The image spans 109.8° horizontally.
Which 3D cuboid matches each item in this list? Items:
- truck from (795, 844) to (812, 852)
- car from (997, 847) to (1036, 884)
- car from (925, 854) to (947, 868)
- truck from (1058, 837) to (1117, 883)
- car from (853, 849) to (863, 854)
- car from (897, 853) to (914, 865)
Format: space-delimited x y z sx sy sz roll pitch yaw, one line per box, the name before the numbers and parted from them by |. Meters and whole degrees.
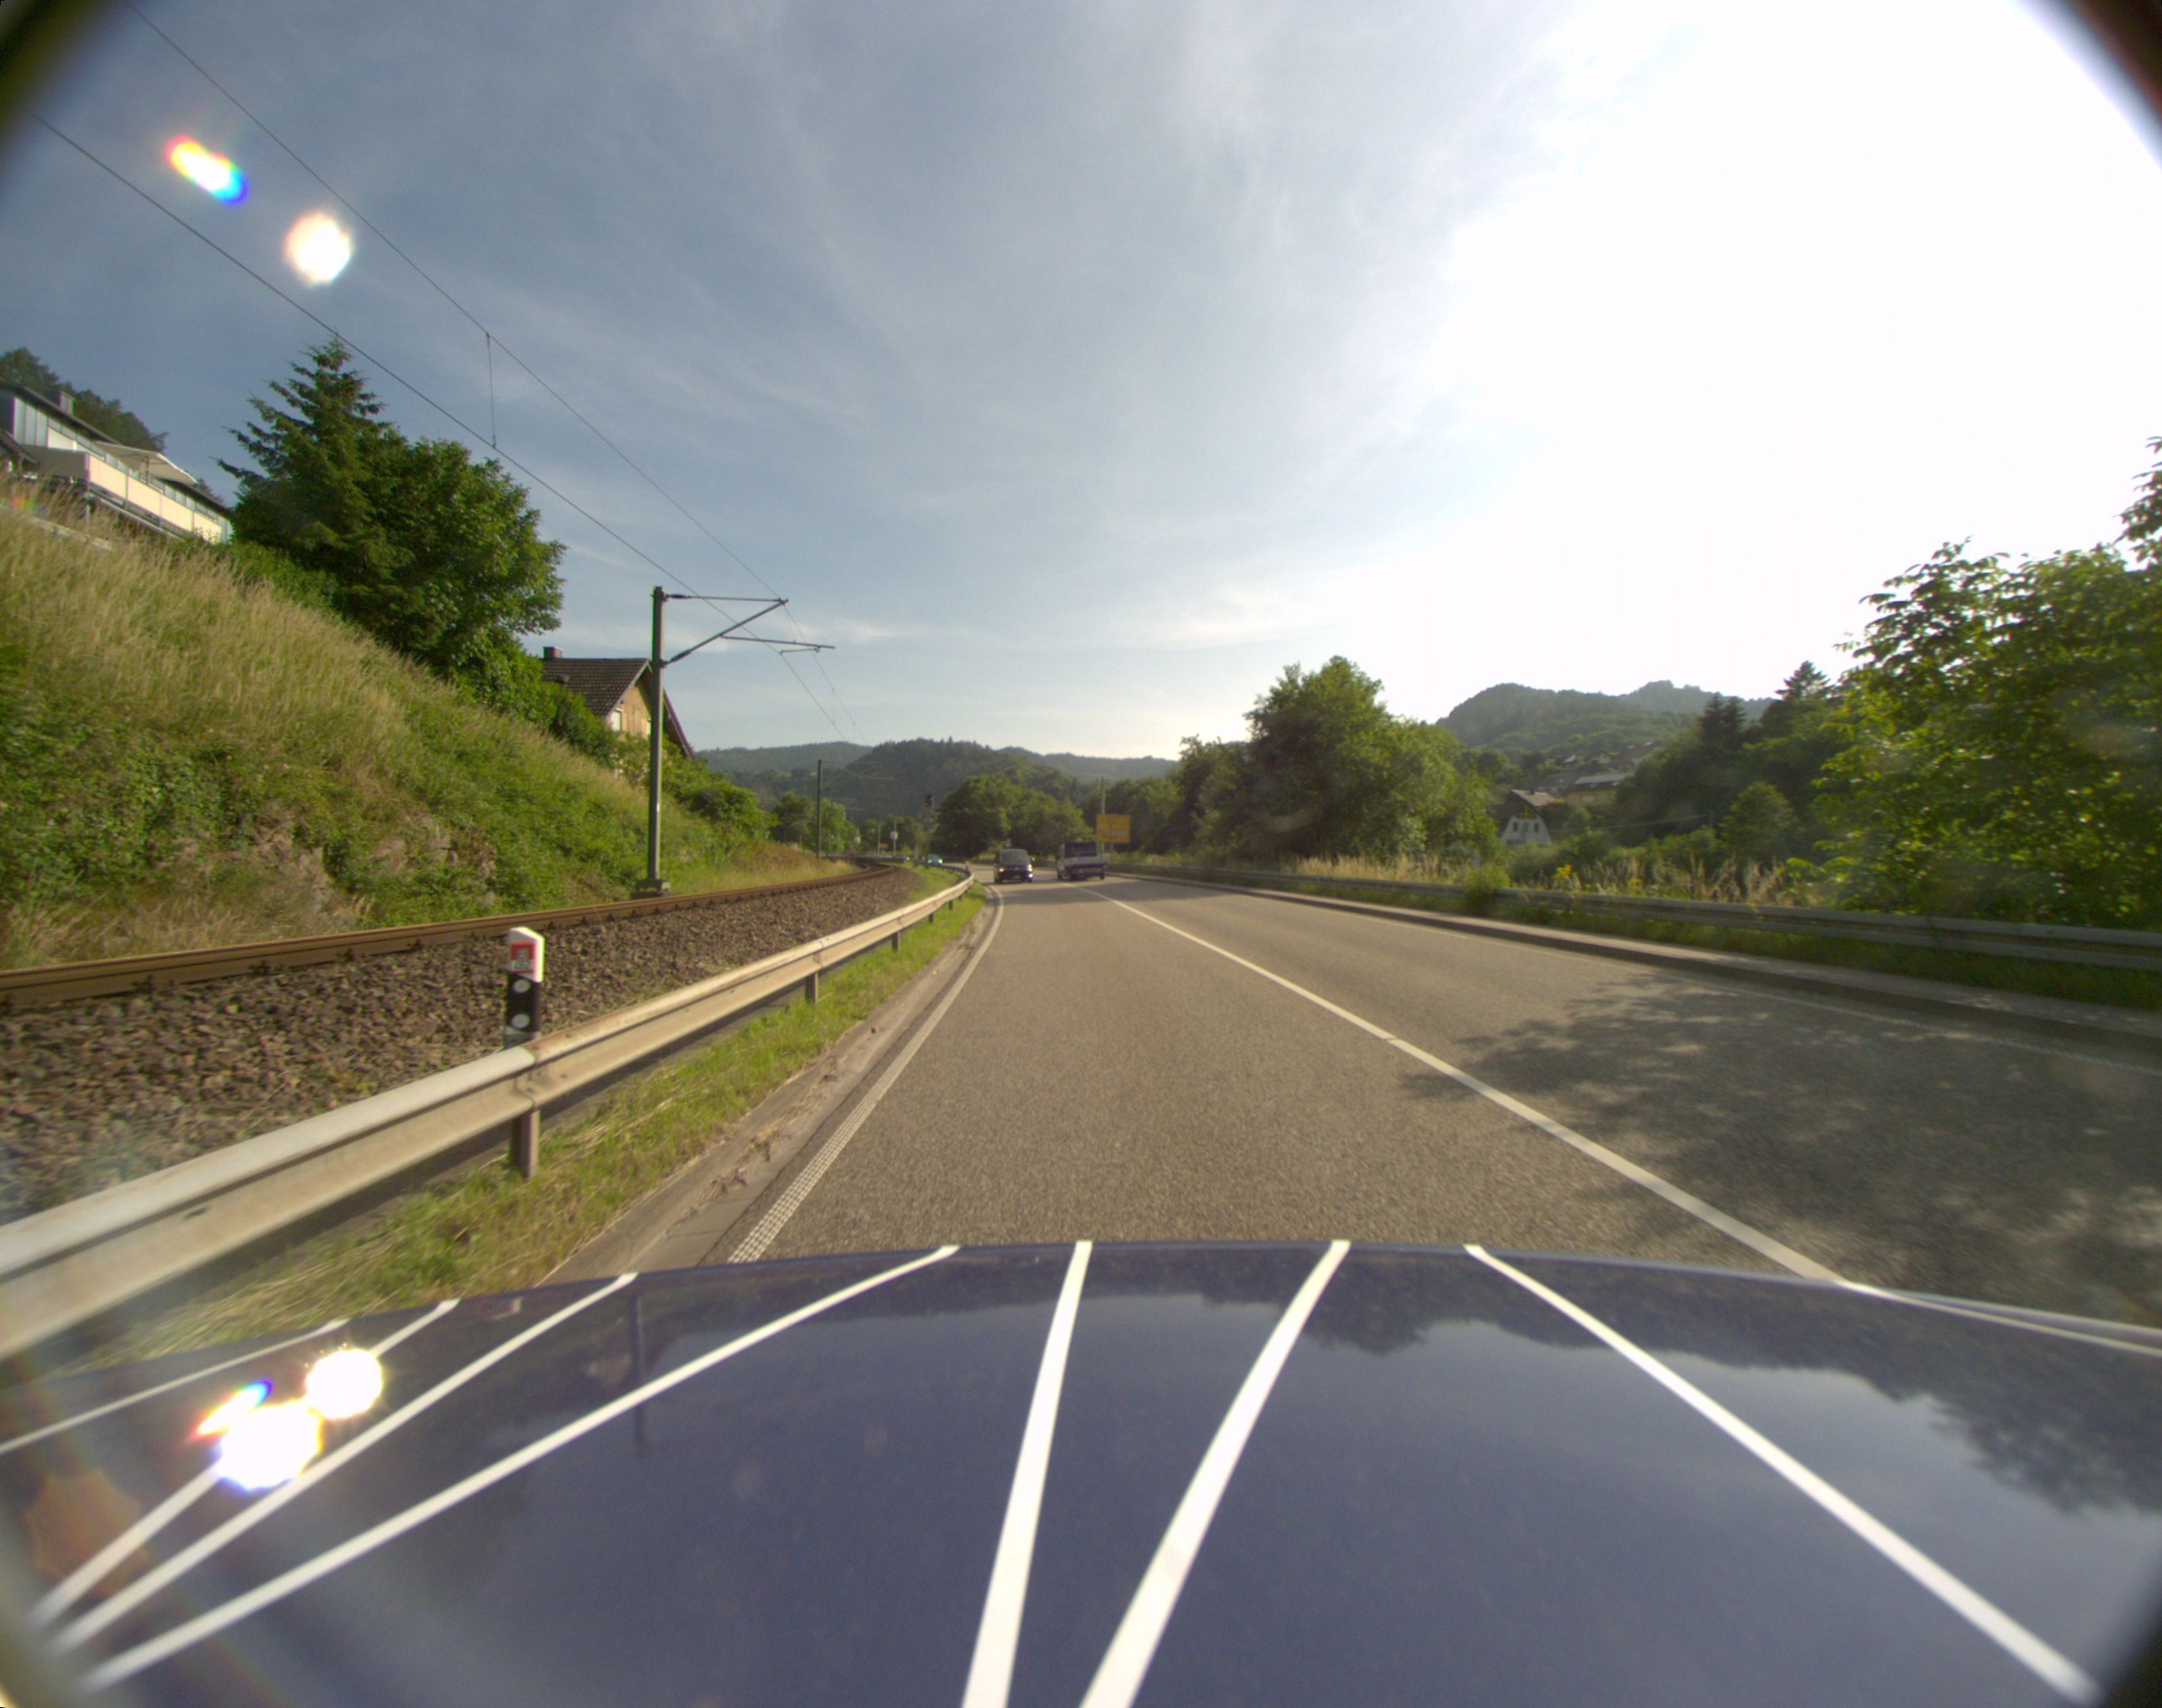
truck | -82.252 -1.884 225.483 4.708 2.272 1.889 -1 0 24
car | -3.794 0.607 43.865 2.019 1.905 4.308 -2 1 -7
car | -18.029 0.841 94.538 1.888 1.735 4.171 -1 0 -21
truck | 0.245 0.303 43.986 2.164 2.352 6.739 -3 1 -10
car | -55.694 -0.636 189.958 1.640 1.341 4.099 -2 2 -26
car | -27.935 0.796 121.099 1.889 1.735 4.170 -1 0 -24
